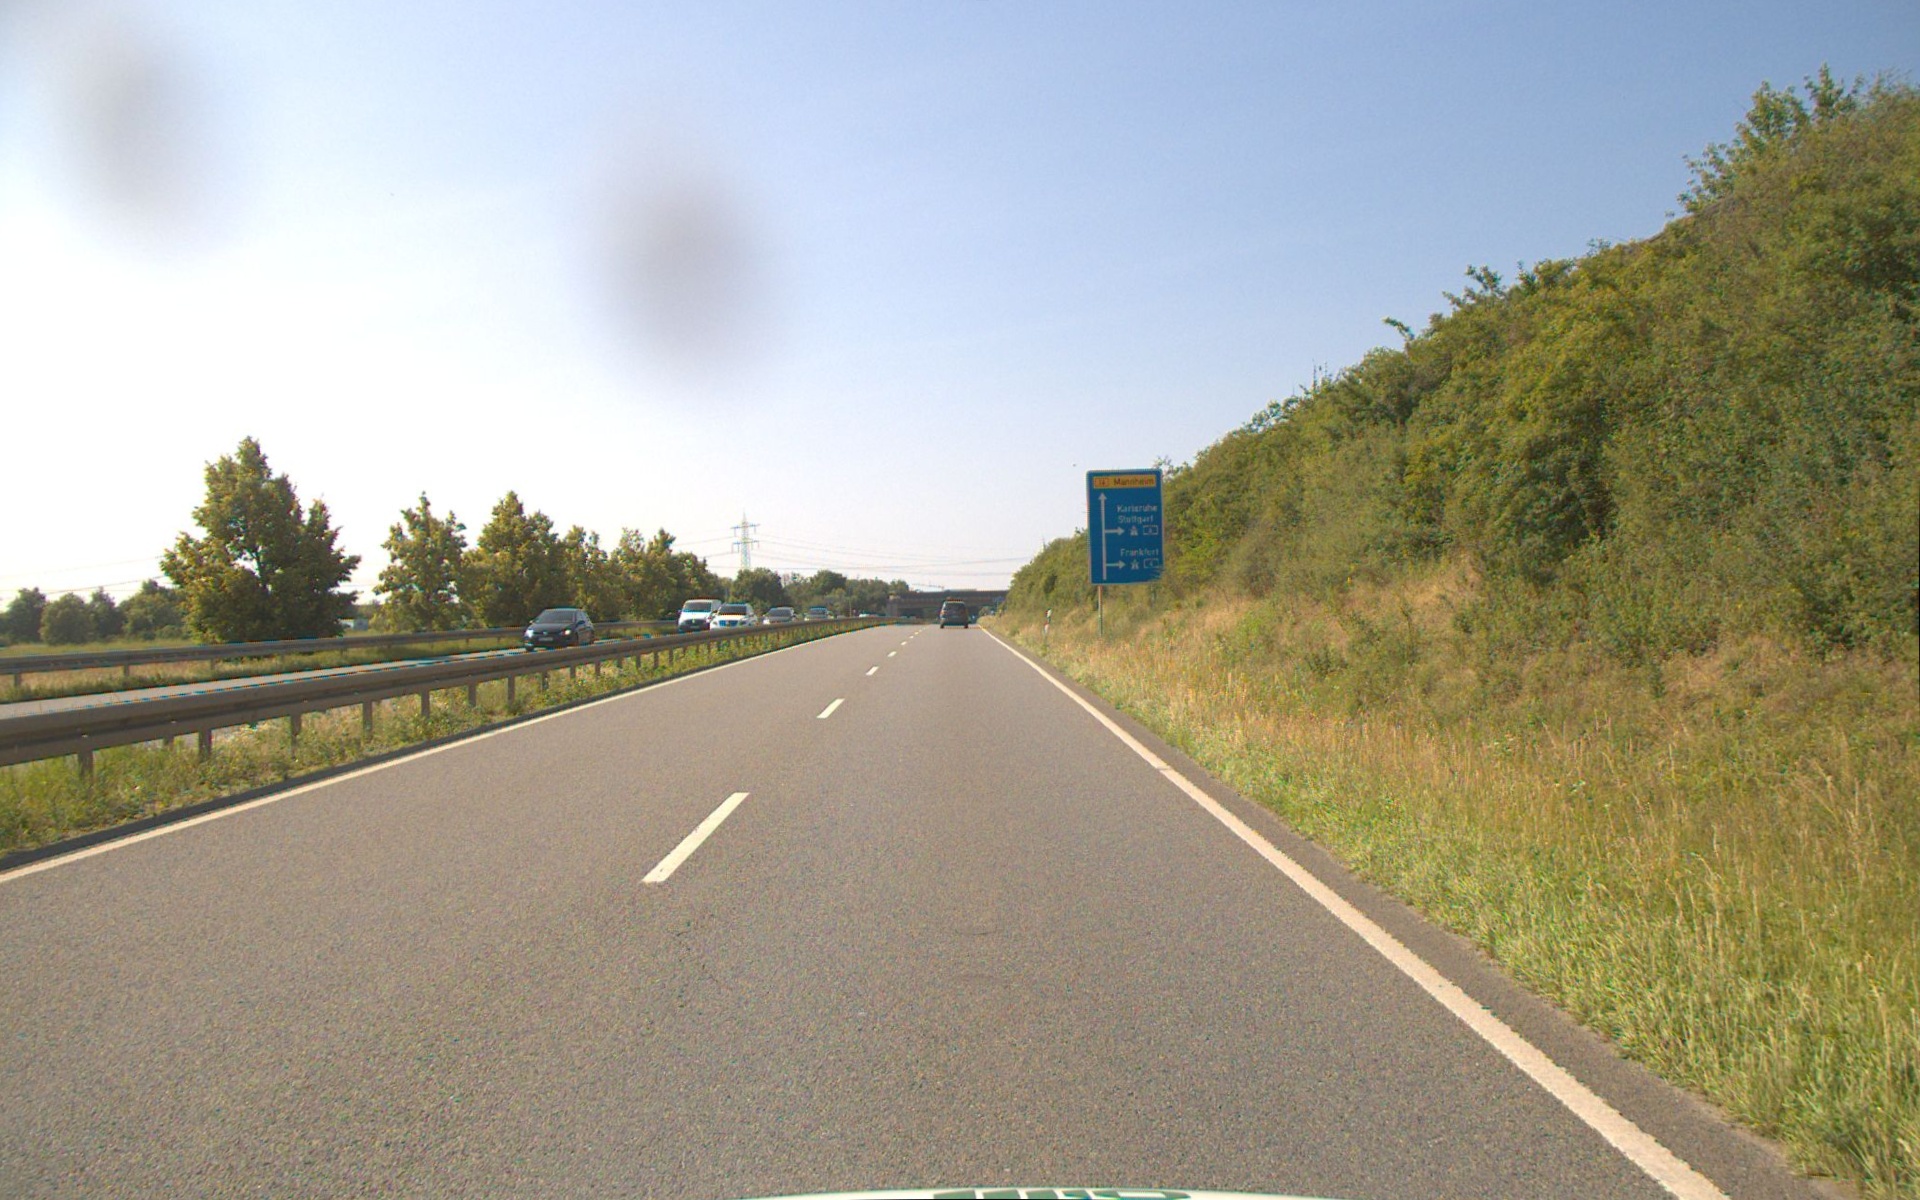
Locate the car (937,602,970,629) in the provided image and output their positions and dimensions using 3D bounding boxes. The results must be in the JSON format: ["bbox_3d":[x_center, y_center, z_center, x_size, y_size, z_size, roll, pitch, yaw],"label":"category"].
[{"bbox_3d":[-0.397,0.996,103.793,1.811,1.673,4.001,-1,-1,3],"label":"car"}]

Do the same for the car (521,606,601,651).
[{"bbox_3d":[-14.181,0.995,58.994,1.801,1.498,4.458,0,0,0],"label":"car"}]

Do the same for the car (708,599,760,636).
[{"bbox_3d":[-10.657,0.800,78.311,1.801,1.694,4.721,0,0,0],"label":"car"}]

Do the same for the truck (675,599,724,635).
[{"bbox_3d":[-14.200,0.899,90.478,1.883,1.872,5.291,0,0,0],"label":"truck"}]
